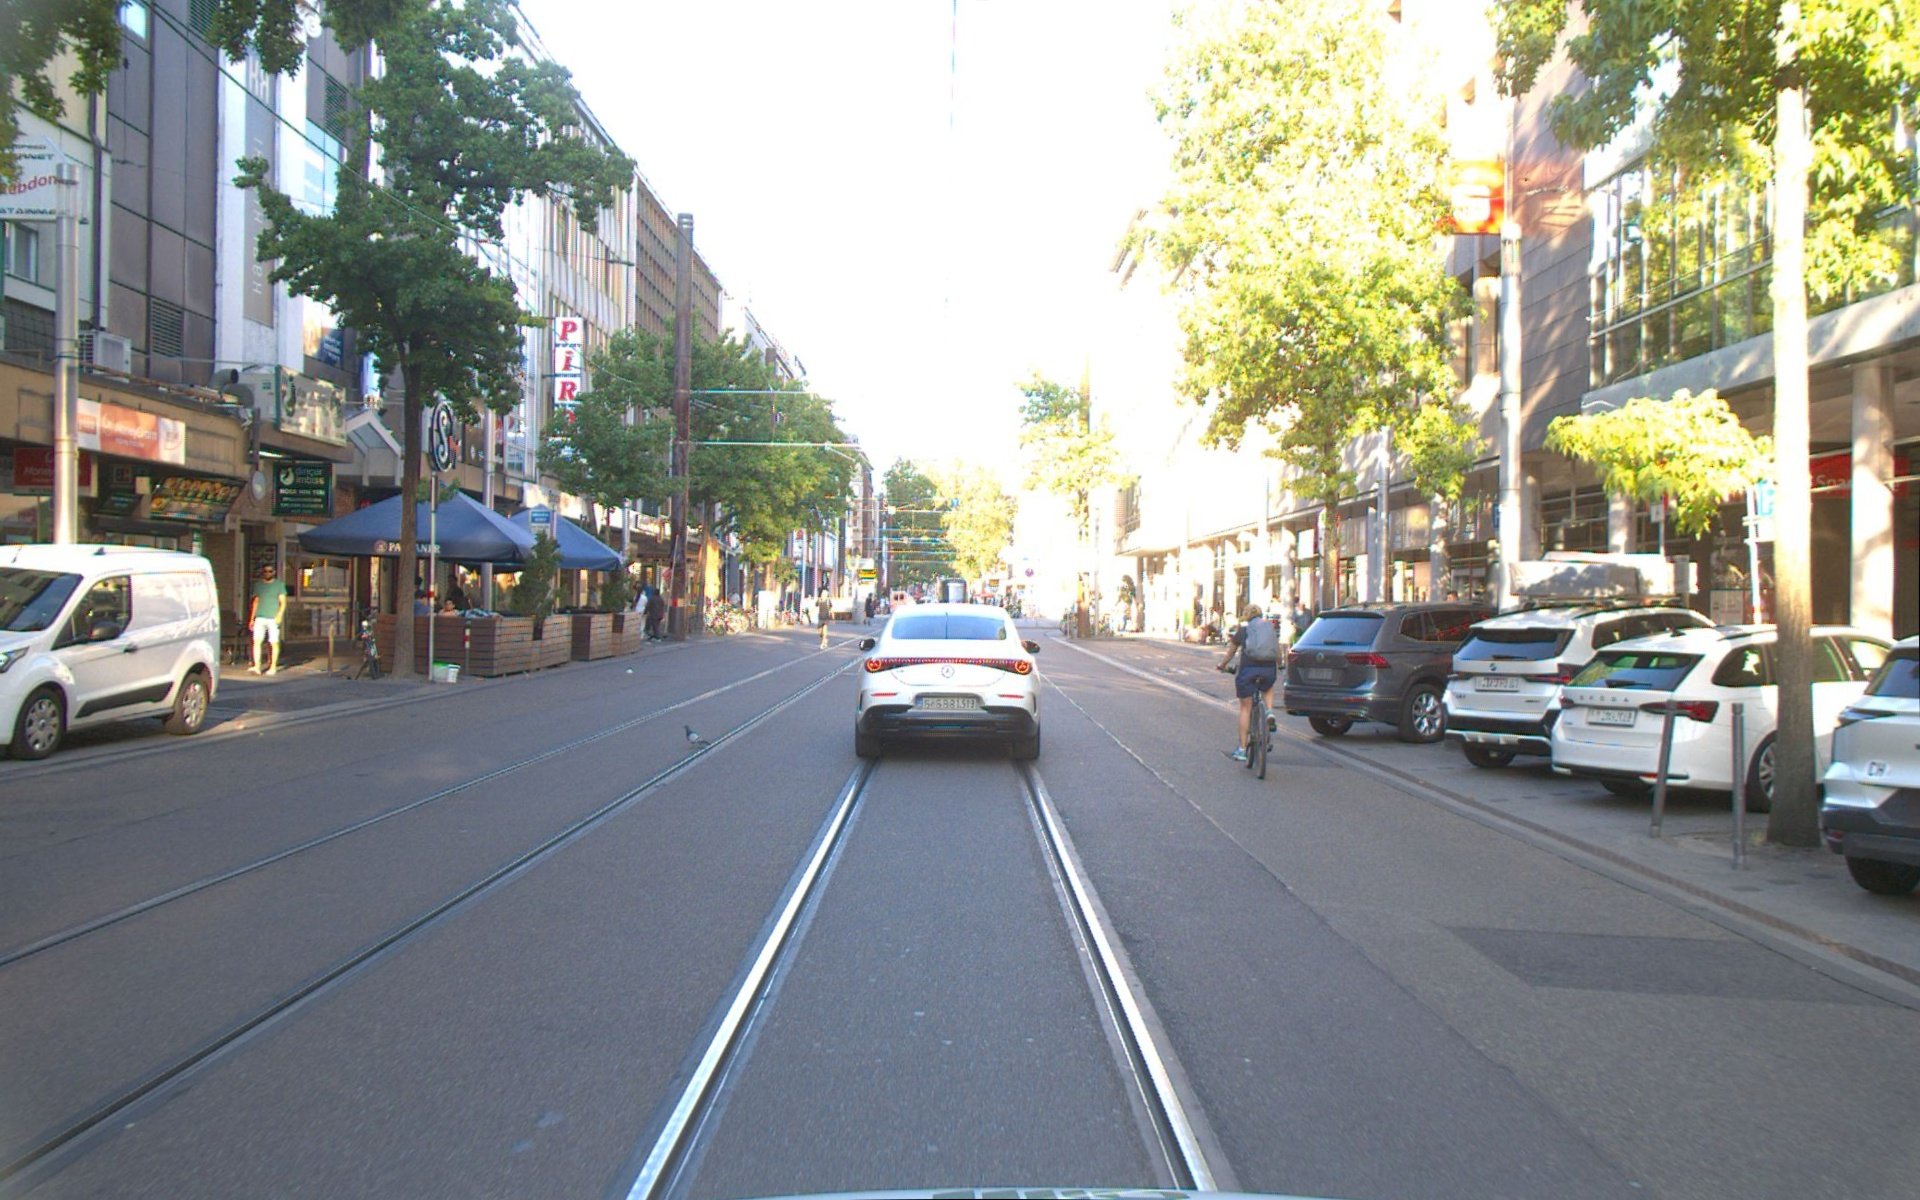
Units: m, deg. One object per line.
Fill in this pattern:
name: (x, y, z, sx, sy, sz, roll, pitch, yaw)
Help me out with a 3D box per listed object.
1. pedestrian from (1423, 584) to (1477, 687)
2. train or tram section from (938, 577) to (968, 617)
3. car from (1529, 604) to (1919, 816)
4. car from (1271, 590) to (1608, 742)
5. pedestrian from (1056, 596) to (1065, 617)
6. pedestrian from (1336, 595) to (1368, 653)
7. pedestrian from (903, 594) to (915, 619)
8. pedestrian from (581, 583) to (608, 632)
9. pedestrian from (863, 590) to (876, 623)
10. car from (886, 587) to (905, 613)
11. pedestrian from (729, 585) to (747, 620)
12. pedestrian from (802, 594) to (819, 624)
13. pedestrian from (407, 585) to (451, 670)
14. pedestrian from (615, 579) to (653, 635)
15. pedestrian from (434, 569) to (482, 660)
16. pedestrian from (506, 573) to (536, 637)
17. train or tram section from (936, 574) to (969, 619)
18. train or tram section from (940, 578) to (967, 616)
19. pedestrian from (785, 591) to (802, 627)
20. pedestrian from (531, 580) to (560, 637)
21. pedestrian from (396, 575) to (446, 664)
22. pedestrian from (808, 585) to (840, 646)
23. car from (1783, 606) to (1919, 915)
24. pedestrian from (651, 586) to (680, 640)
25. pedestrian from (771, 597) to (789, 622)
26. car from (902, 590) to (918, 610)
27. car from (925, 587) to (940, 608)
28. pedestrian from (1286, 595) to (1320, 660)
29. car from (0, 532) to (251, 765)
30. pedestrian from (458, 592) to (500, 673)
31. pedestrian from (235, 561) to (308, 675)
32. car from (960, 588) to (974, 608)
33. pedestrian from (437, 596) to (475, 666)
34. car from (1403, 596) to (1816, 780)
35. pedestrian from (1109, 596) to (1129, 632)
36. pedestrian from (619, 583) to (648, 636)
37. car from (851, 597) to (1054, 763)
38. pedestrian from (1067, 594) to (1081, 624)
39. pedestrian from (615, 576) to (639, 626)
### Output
pedestrian: (8.589, 0.620, 28.984, 0.677, 1.761, 0.629, -2, 0, 42)
train or tram section: (-0.609, -0.281, 153.180, 2.639, 3.578, 12.544, 1, 0, 0)
car: (7.101, 0.846, 14.302, 4.092, 1.525, 1.676, -2, 0, -24)
car: (6.146, 0.767, 21.046, 4.299, 1.681, 1.676, -2, 0, -32)
pedestrian: (8.507, 0.552, 140.318, 0.712, 1.817, 0.707, 1, 0, -1)
pedestrian: (11.093, 0.672, 46.805, 0.681, 1.617, 0.925, 1, 0, 0)
pedestrian: (-3.695, 0.461, 120.075, 0.784, 1.813, 0.849, 2, 0, -1)
pedestrian: (-11.919, 0.238, 53.889, 0.609, 1.552, 0.809, 3, 0, 0)
pedestrian: (-5.490, 0.391, 100.605, 0.531, 1.963, 0.569, 0, 0, 43)
car: (-7.409, -0.026, 191.181, 1.952, 2.948, 5.275, 1, 0, 0)
pedestrian: (-11.589, 0.145, 86.295, 0.775, 1.797, 0.533, 1, 0, -25)
pedestrian: (-8.858, 0.519, 98.093, 0.886, 1.728, 0.849, 1, 0, 0)
pedestrian: (-9.254, 0.476, 28.862, 0.538, 1.454, 0.582, 2, 0, -1)
pedestrian: (-10.557, 0.227, 53.513, 0.832, 1.771, 0.835, 2, 0, 20)
pedestrian: (-9.957, 0.288, 32.835, 0.703, 1.755, 0.675, 2, 0, -1)
pedestrian: (-12.465, 0.138, 46.978, 0.585, 1.775, 0.671, 2, 0, 0)
train or tram section: (-0.591, -0.278, 140.627, 2.639, 3.578, 12.544, 1, 0, 0)
train or tram section: (-0.632, -0.279, 165.020, 2.639, 3.578, 11.142, 1, 0, 0)
pedestrian: (-8.732, 0.473, 86.900, 0.771, 1.832, 0.844, 1, 0, 1)
pedestrian: (-11.774, 0.237, 46.979, 0.585, 1.559, 0.671, 2, 0, 0)
pedestrian: (-10.103, 0.355, 31.019, 0.659, 1.635, 0.719, 2, 0, -1)
pedestrian: (-4.189, 0.464, 51.083, 0.824, 1.832, 0.790, 2, 0, 1)
car: (6.880, 0.820, 9.752, 4.109, 1.599, 1.833, -2, 0, -34)
pedestrian: (-8.743, 0.386, 49.097, 0.609, 1.577, 0.852, 3, 0, 0)
pedestrian: (-10.994, 0.562, 100.946, 0.936, 1.522, 0.944, 1, 0, 0)
car: (-6.317, -0.010, 209.836, 1.870, 2.504, 5.275, 1, 0, 0)
car: (-4.025, -0.375, 241.896, 2.056, 2.948, 5.275, 1, 0, 0)
pedestrian: (8.726, 0.694, 42.091, 0.667, 1.600, 0.632, 2, 0, 0)
car: (-8.643, 0.345, 15.640, 1.759, 1.897, 4.554, 3, 0, 1)
pedestrian: (-8.377, 0.555, 28.817, 0.538, 1.380, 0.582, 2, 0, -1)
pedestrian: (-10.754, 0.268, 25.855, 0.653, 1.715, 1.005, 3, 0, -1)
car: (1.066, -0.266, 242.245, 2.056, 2.948, 5.285, 1, 0, 0)
pedestrian: (-9.191, 0.563, 30.174, 0.484, 1.249, 0.535, 2, 0, -1)
car: (6.805, 0.820, 17.231, 4.194, 1.615, 1.864, -2, 0, -32)
pedestrian: (8.267, 0.727, 85.795, 0.881, 1.775, 0.689, -3, 0, -1)
pedestrian: (-9.675, 0.288, 49.079, 0.609, 1.535, 0.833, 3, 0, 0)
car: (-0.076, 0.724, 17.052, 1.819, 1.481, 4.174, 1, 0, 0)
pedestrian: (6.990, 0.559, 101.526, 0.733, 1.817, 0.766, -1, 0, -1)
pedestrian: (-12.443, 0.039, 61.879, 0.609, 1.835, 0.933, 3, 0, 0)
